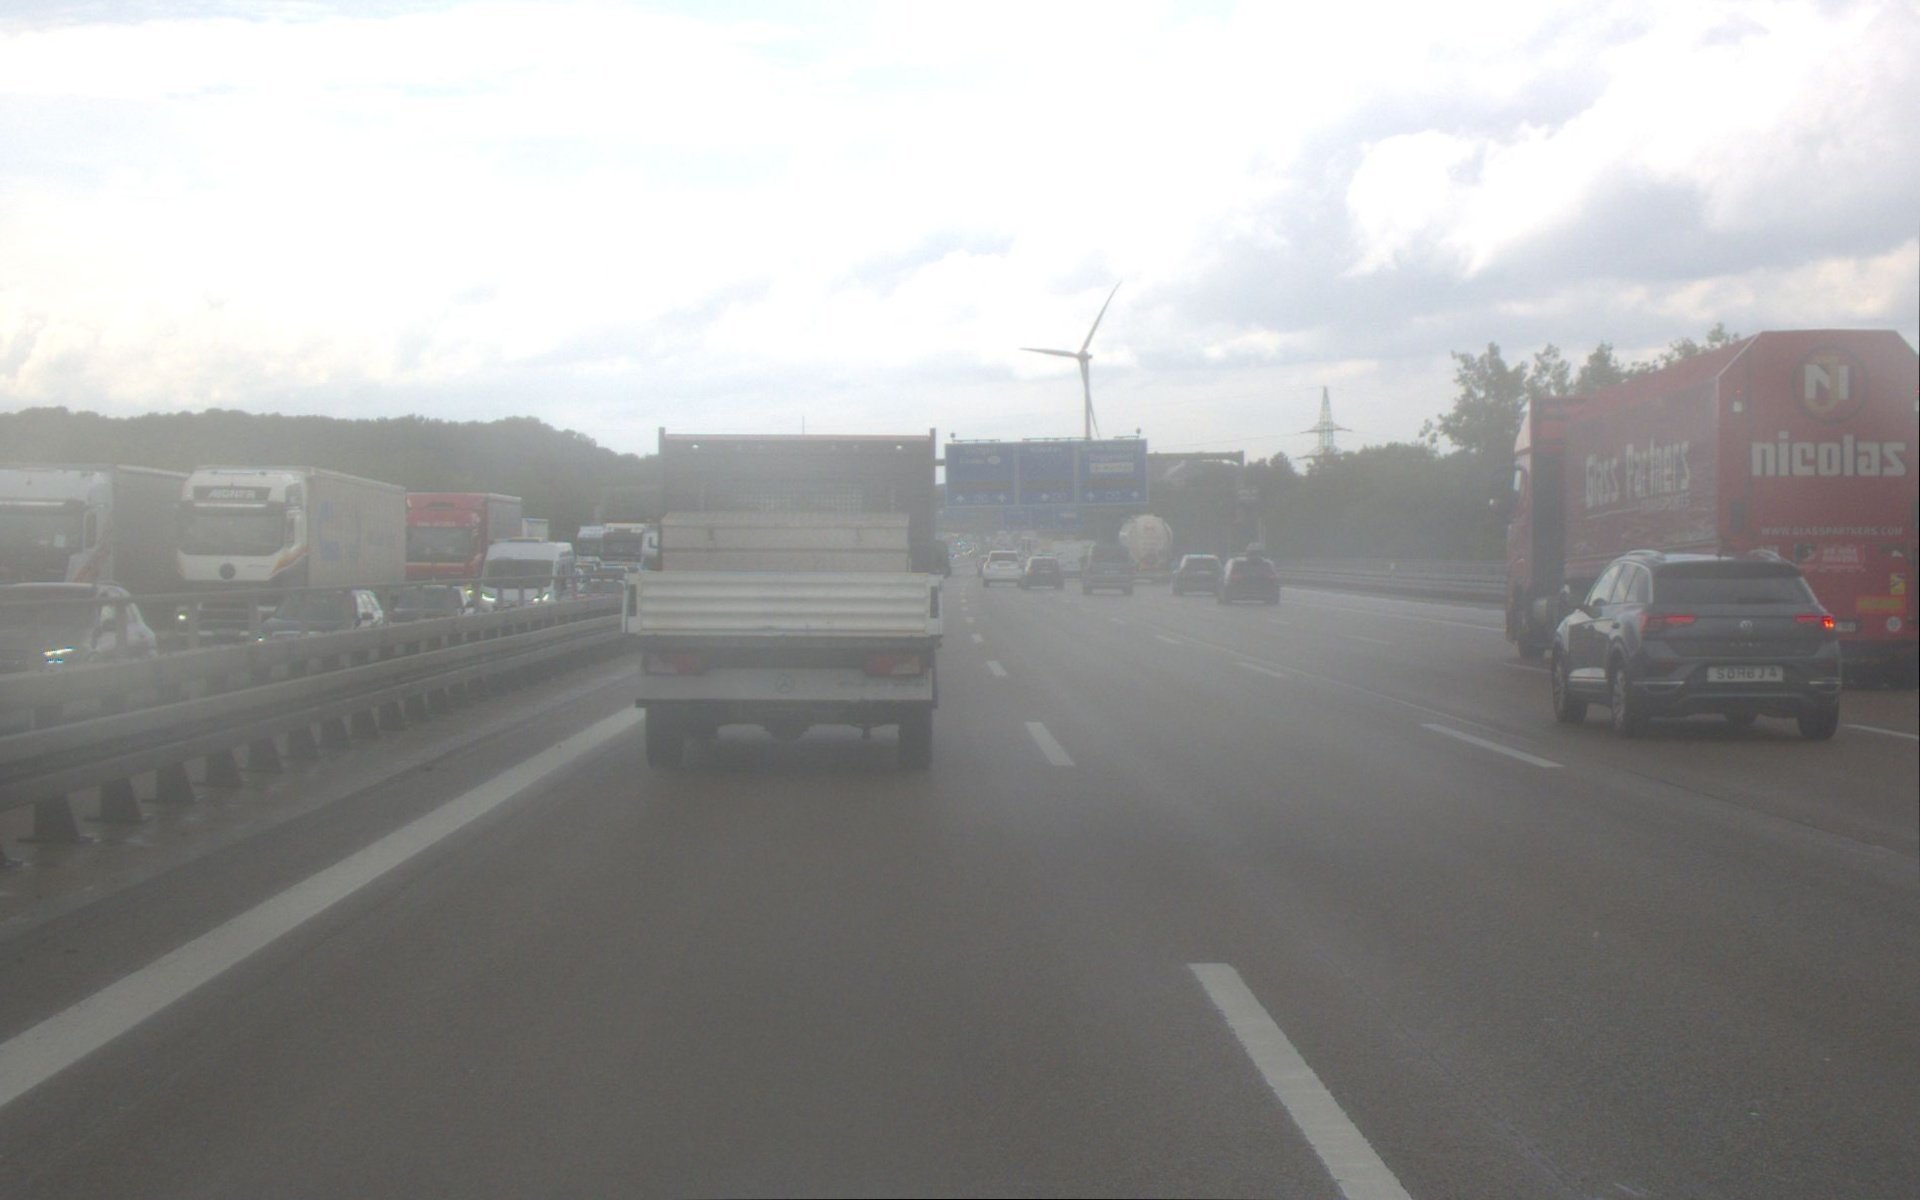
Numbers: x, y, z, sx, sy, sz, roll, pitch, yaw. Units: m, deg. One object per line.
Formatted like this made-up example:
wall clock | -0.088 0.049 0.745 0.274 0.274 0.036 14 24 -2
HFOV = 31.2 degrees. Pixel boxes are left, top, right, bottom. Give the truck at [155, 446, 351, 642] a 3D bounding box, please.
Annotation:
truck | -15.906 -1.275 77.860 2.880 4.166 7.557 -1 1 -1

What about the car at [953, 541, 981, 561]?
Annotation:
car | 0.504 -3.518 246.630 1.812 1.441 4.000 -1 1 -2

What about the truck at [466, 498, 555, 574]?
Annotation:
truck | -23.886 -3.401 183.245 3.225 3.896 10.282 0 1 1

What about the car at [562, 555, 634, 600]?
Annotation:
car | -12.000 -0.763 114.235 1.922 1.414 5.012 -1 1 -1

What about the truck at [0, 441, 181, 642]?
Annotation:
truck | -19.329 -1.263 74.914 2.904 4.133 7.102 -1 1 1

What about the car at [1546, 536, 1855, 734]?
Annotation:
car | 6.173 0.253 29.051 1.792 1.557 3.722 0 1 0

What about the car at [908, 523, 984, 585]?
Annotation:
car | -0.380 -1.300 96.321 2.045 1.693 4.000 0 1 1

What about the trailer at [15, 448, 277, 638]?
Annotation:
trailer | -19.186 -1.370 82.080 2.880 4.131 13.028 -1 1 1

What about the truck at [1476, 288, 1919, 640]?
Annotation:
truck | 9.715 -1.708 46.763 3.152 3.989 15.637 0 1 0

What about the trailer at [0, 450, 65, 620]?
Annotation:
trailer | -23.827 -1.478 79.610 2.758 3.980 12.307 -1 1 1

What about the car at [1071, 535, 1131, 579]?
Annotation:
car | 5.595 -1.724 136.727 2.097 1.693 4.001 0 1 -2

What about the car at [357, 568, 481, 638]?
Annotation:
car | -11.768 0.043 75.077 1.922 1.414 5.165 -1 1 -1

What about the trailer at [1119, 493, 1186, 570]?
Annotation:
trailer | 10.828 -3.839 193.986 3.333 4.161 11.838 0 1 1

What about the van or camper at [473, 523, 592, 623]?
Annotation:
van or camper | -11.188 -0.747 90.459 2.278 2.487 7.303 -1 1 -1

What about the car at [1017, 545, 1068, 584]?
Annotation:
car | 3.666 -1.605 153.589 2.045 1.693 4.001 0 1 -2

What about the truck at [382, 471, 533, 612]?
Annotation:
truck | -15.685 -1.835 108.206 2.984 4.134 12.524 -1 1 -1

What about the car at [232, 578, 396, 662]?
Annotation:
car | -11.746 0.336 62.863 2.014 1.382 5.460 -1 1 -1

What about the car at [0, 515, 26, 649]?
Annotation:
car | -18.924 -0.286 62.377 2.156 2.496 6.773 -1 1 -1

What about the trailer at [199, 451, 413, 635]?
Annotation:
trailer | -15.944 -1.412 84.913 2.880 4.131 13.029 -1 1 -1

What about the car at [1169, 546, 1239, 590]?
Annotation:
car | 9.618 -1.282 135.960 2.045 1.693 5.008 0 1 -5

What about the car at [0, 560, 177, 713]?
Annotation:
car | -11.318 0.401 42.870 1.913 1.760 5.332 -1 1 -1

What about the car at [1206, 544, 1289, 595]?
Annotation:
car | 9.399 -1.031 112.723 2.105 1.600 5.066 0 1 -2

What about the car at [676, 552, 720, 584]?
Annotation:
car | -11.683 -1.435 153.323 1.573 1.349 4.384 -1 1 1

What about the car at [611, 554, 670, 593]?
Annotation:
car | -12.275 -1.036 132.410 1.832 1.447 4.000 -1 1 1

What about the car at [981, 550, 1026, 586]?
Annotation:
car | 2.093 -1.556 166.419 1.972 1.693 4.001 0 1 -2

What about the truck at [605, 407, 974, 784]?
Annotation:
truck | -1.233 -0.107 25.769 2.353 2.400 7.359 1 1 -2

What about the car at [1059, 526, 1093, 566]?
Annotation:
car | 7.187 -3.378 213.468 2.045 2.489 4.000 0 1 1
